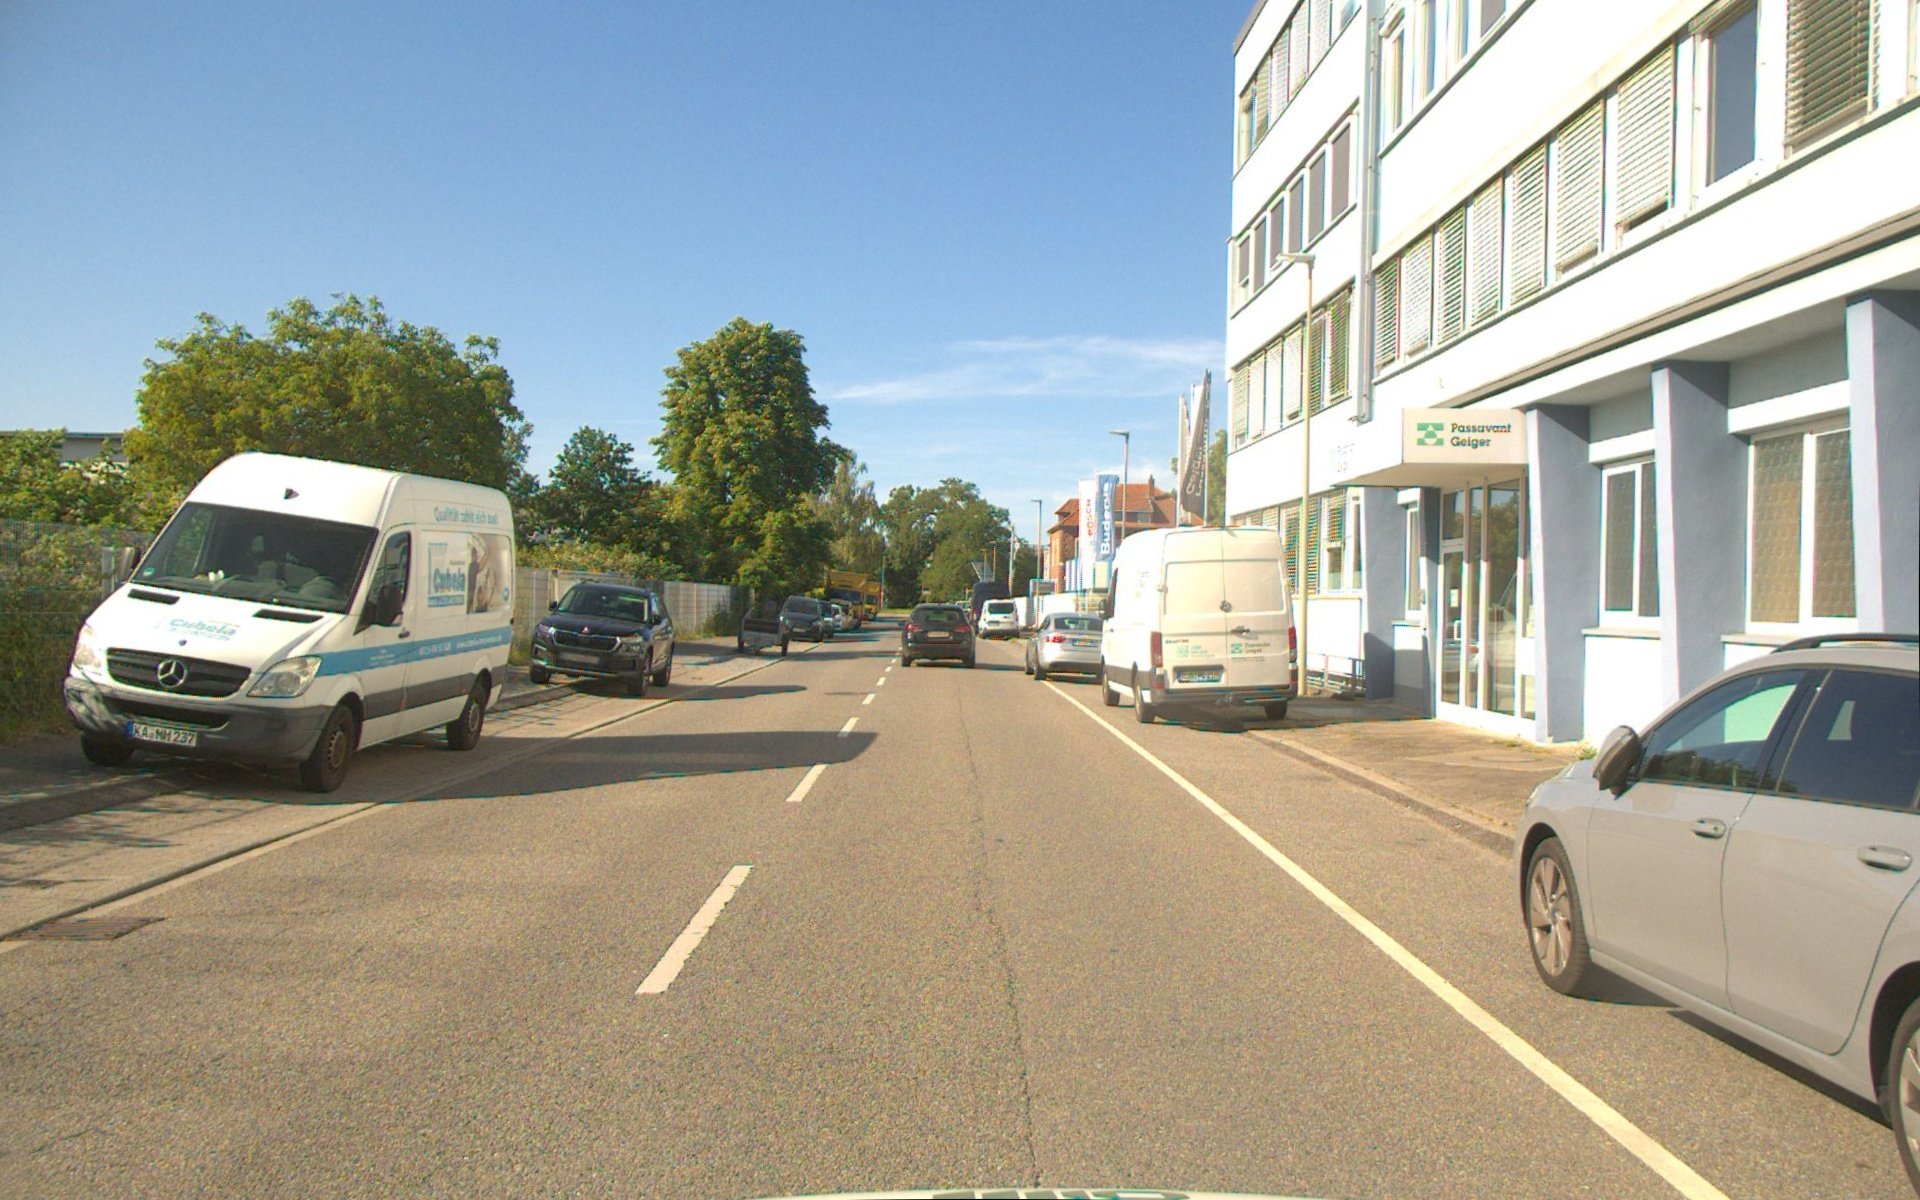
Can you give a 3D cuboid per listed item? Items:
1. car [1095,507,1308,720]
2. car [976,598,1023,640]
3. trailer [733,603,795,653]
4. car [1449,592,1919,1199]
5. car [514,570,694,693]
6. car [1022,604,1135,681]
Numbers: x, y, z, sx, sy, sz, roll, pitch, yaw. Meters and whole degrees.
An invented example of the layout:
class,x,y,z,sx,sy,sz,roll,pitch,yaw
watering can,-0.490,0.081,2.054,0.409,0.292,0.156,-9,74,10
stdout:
class,x,y,z,sx,sy,sz,roll,pitch,yaw
car,3.279,0.116,23.725,1.953,2.643,6.049,-1,1,-2
car,1.861,0.907,79.390,1.848,1.829,5.101,3,-1,-2
trailer,-5.793,0.805,49.171,1.447,1.378,3.078,3,0,-1
car,3.349,0.804,5.374,1.851,1.588,5.088,2,0,-2
car,-5.870,0.478,27.943,1.990,1.723,5.104,5,0,-2
car,2.416,0.862,35.050,1.856,1.430,5.122,3,-1,-1
